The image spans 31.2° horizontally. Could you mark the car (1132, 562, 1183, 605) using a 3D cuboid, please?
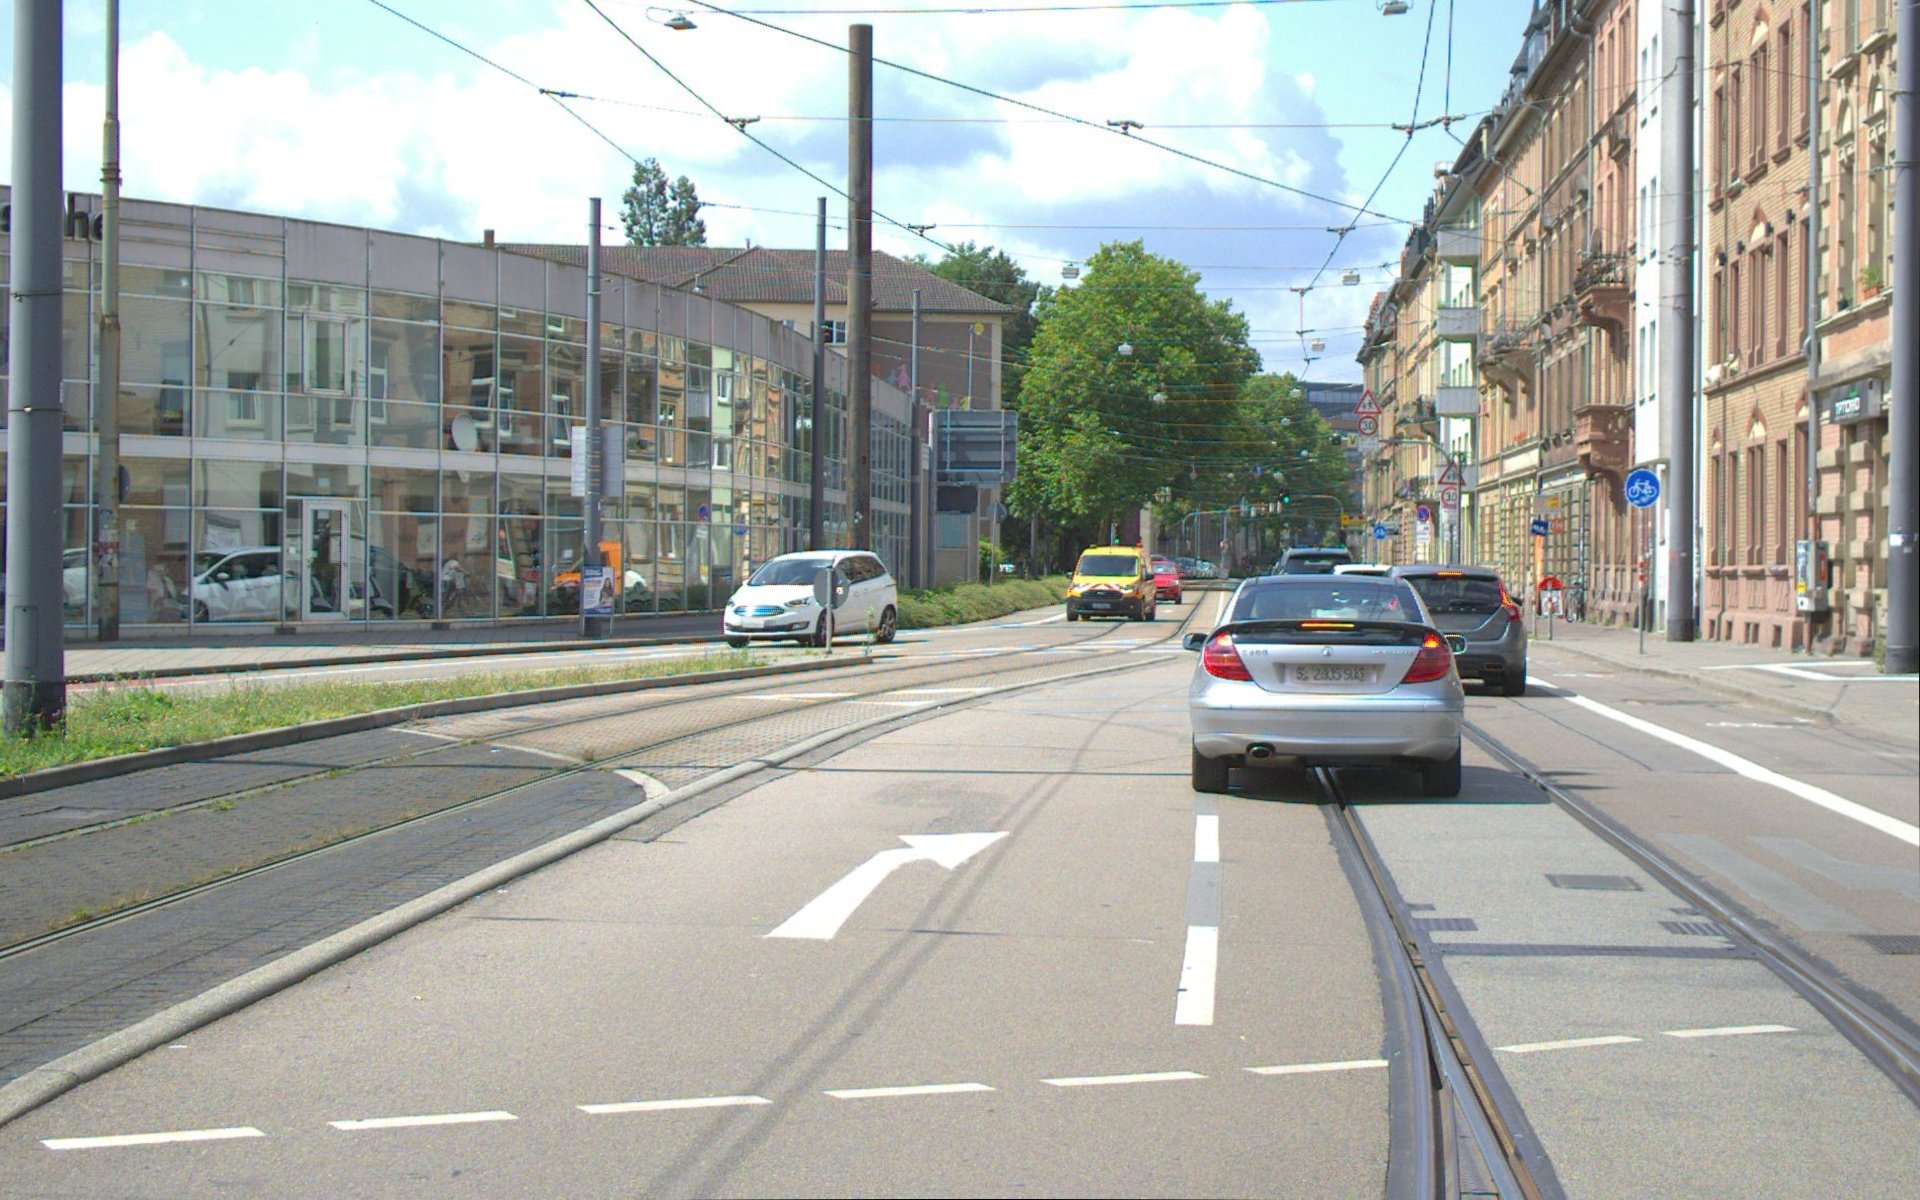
[{"bbox_3d":[6.780,-0.561,117.880,1.702,1.423,3.901,1,0,4],"label":"car"}]

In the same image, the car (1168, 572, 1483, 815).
[{"bbox_3d":[2.339,0.548,22.925,1.814,1.415,4.187,1,1,3],"label":"car"}]

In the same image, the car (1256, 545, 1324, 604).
[{"bbox_3d":[10.576,-0.841,110.444,1.994,1.853,4.000,0,1,3],"label":"car"}]

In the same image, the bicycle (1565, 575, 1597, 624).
[{"bbox_3d":[15.099,-0.014,83.663,0.586,1.174,2.204,0,1,5],"label":"bicycle"}]

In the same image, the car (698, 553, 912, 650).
[{"bbox_3d":[-2.662,0.007,60.113,1.769,1.598,4.487,-1,1,26],"label":"car"}]

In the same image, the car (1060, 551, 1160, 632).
[{"bbox_3d":[3.636,-0.226,82.622,1.911,1.859,4.366,-1,1,9],"label":"car"}]

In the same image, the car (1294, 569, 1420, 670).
[{"bbox_3d":[6.228,0.275,54.251,1.815,1.519,3.955,1,1,4],"label":"car"}]

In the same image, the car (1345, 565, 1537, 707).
[{"bbox_3d":[5.522,0.375,39.882,1.814,1.519,4.085,1,1,3],"label":"car"}]

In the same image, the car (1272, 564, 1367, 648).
[{"bbox_3d":[7.269,0.096,69.787,1.815,1.656,4.084,0,0,4],"label":"car"}]
